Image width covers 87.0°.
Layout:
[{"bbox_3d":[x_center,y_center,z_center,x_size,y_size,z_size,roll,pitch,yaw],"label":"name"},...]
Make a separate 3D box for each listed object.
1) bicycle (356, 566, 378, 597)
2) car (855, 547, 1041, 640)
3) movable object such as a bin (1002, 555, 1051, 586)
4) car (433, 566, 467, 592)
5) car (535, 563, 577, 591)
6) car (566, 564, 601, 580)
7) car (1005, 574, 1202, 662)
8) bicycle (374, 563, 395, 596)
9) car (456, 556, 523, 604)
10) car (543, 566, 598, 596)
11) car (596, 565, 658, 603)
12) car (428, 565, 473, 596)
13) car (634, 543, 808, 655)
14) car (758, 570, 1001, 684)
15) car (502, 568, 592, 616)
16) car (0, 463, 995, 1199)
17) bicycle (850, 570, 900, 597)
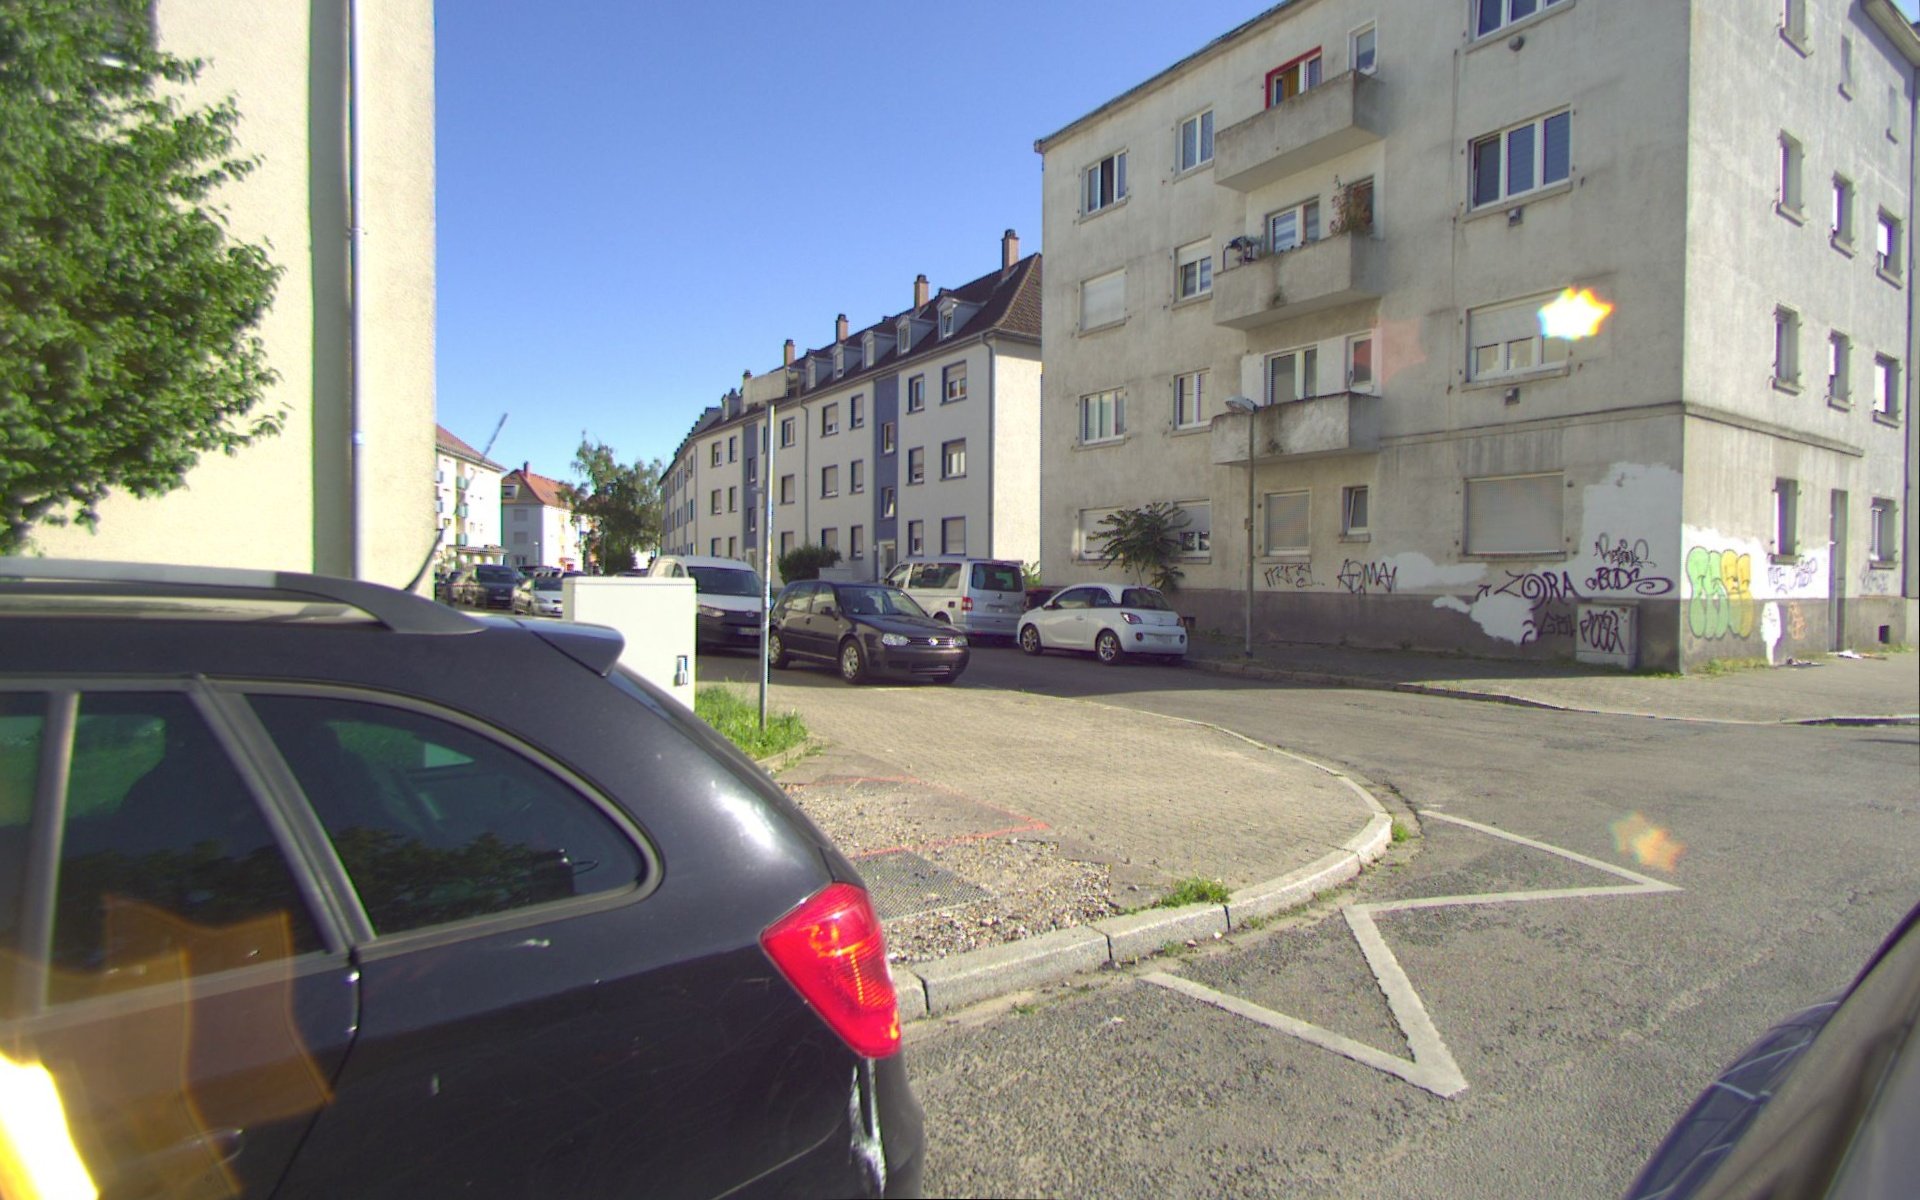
[{"bbox_3d":[-21.123,-0.684,36.052,0.496,1.057,2.078,-2,3,-26],"label":"bicycle"},{"bbox_3d":[-0.414,-0.191,23.755,1.919,1.957,4.857,2,1,-35],"label":"car"},{"bbox_3d":[2.232,-0.997,34.066,1.111,1.012,1.205,0,2,-34],"label":"movable object such as a bin"},{"bbox_3d":[-29.382,-1.233,58.259,1.644,1.437,3.866,1,1,-27],"label":"car"},{"bbox_3d":[-23.728,-1.348,59.375,1.712,1.535,3.988,3,0,-29],"label":"car"},{"bbox_3d":[-37.418,-2.739,100.657,1.549,1.443,3.972,3,0,6],"label":"car"},{"bbox_3d":[2.626,0.283,19.317,1.659,1.477,3.723,1,1,-33],"label":"car"},{"bbox_3d":[-20.617,-0.751,36.255,0.496,1.106,2.078,-2,3,-26],"label":"bicycle"},{"bbox_3d":[-19.474,-0.842,41.778,1.731,1.862,4.921,1,1,-34],"label":"car"},{"bbox_3d":[-20.736,-1.033,53.774,1.868,1.477,4.399,3,0,-32],"label":"car"},{"bbox_3d":[-14.865,-0.717,45.086,1.617,1.538,3.704,3,0,-34],"label":"car"},{"bbox_3d":[-25.317,-0.997,50.257,1.636,1.467,3.863,1,1,-32],"label":"car"},{"bbox_3d":[-4.677,-0.057,19.292,1.768,1.869,4.542,3,0,-33],"label":"car"},{"bbox_3d":[-1.338,0.323,15.031,1.769,1.433,4.050,2,0,-35],"label":"car"},{"bbox_3d":[-13.517,-0.285,32.984,1.714,1.424,4.314,1,1,-36],"label":"car"},{"bbox_3d":[-2.034,0.653,1.135,4.009,1.567,1.623,-2,2,-36],"label":"car"},{"bbox_3d":[-3.521,-0.687,41.839,2.036,0.973,0.501,-5,4,-34],"label":"bicycle"}]
